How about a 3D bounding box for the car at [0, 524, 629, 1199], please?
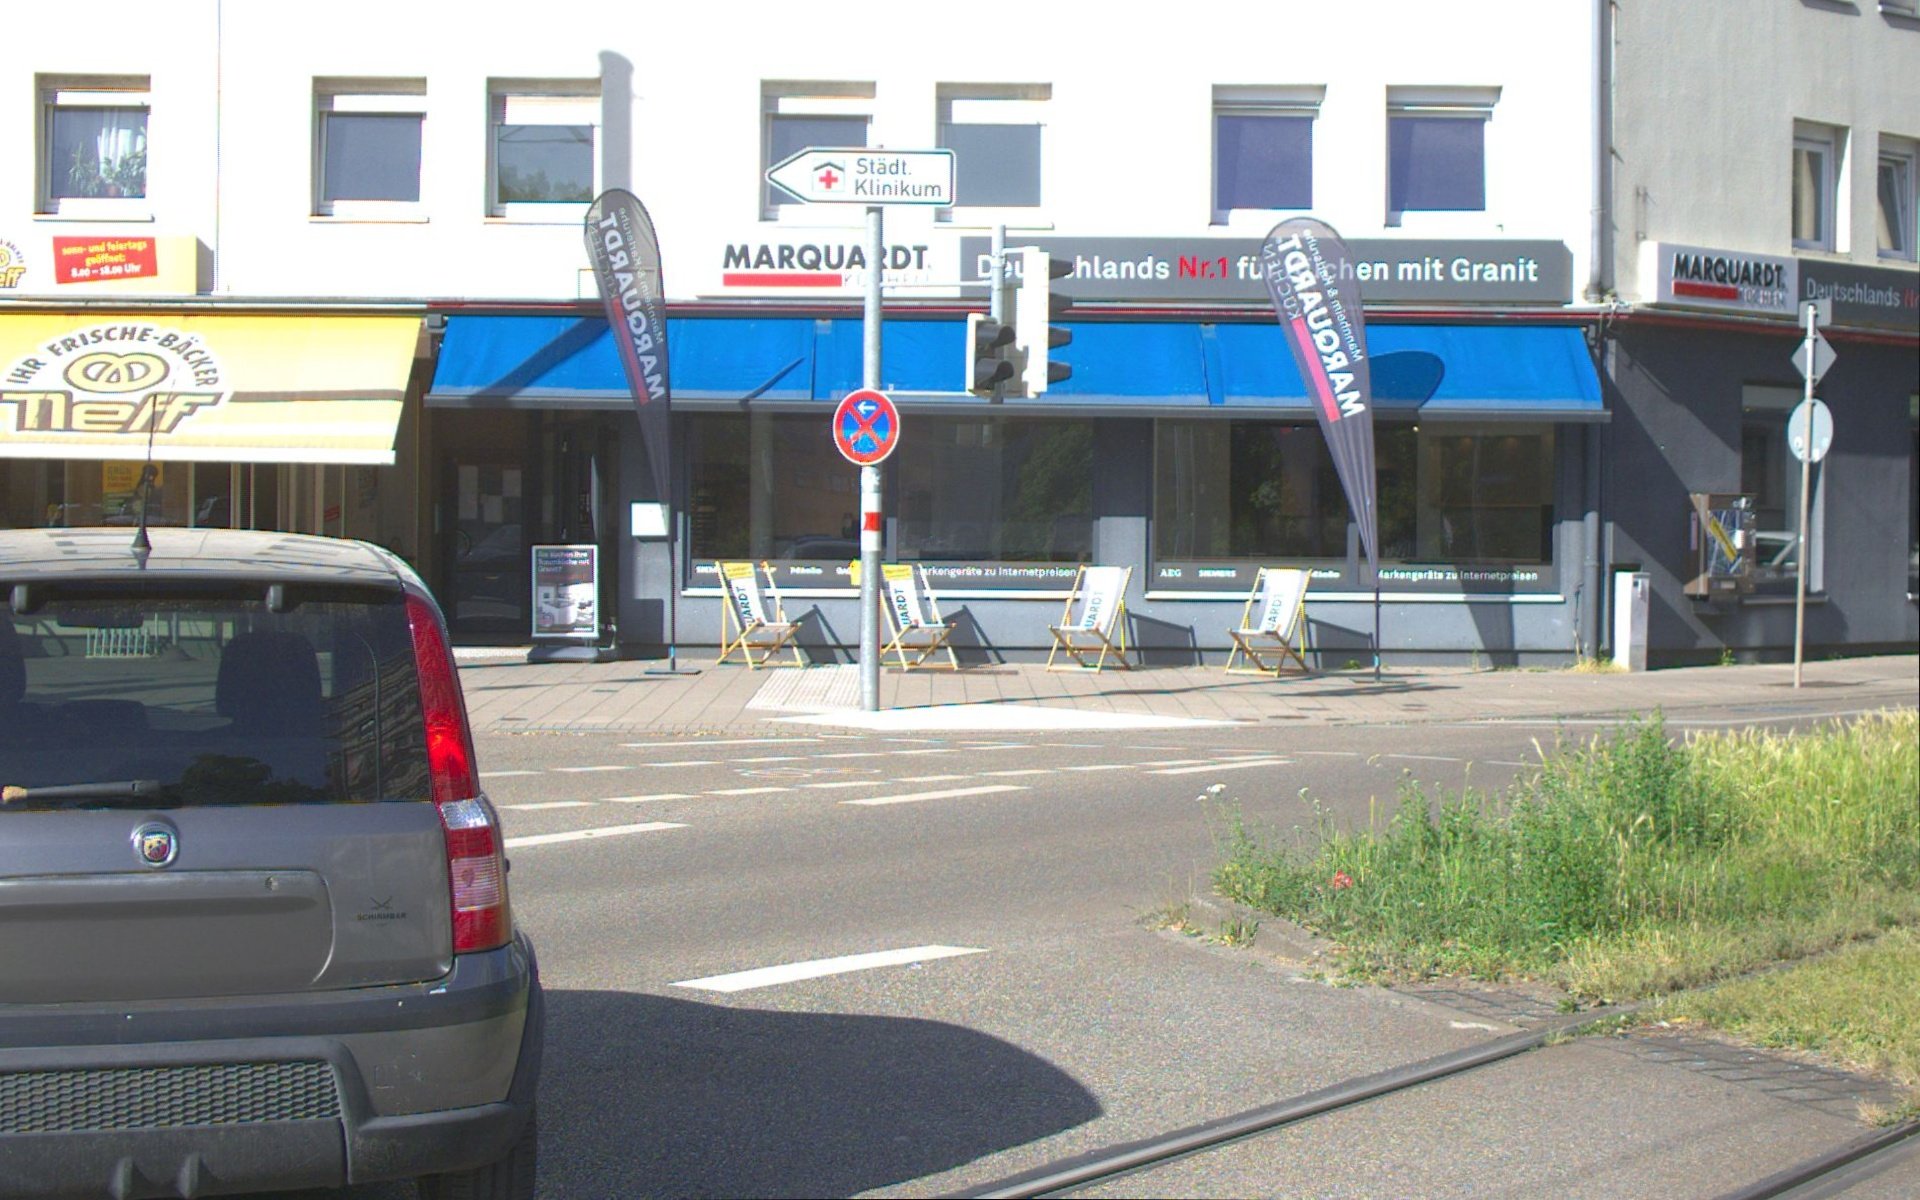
[{"bbox_3d":[-1.986,0.587,8.106,1.659,1.505,3.252,0,1,-19],"label":"car"}]
